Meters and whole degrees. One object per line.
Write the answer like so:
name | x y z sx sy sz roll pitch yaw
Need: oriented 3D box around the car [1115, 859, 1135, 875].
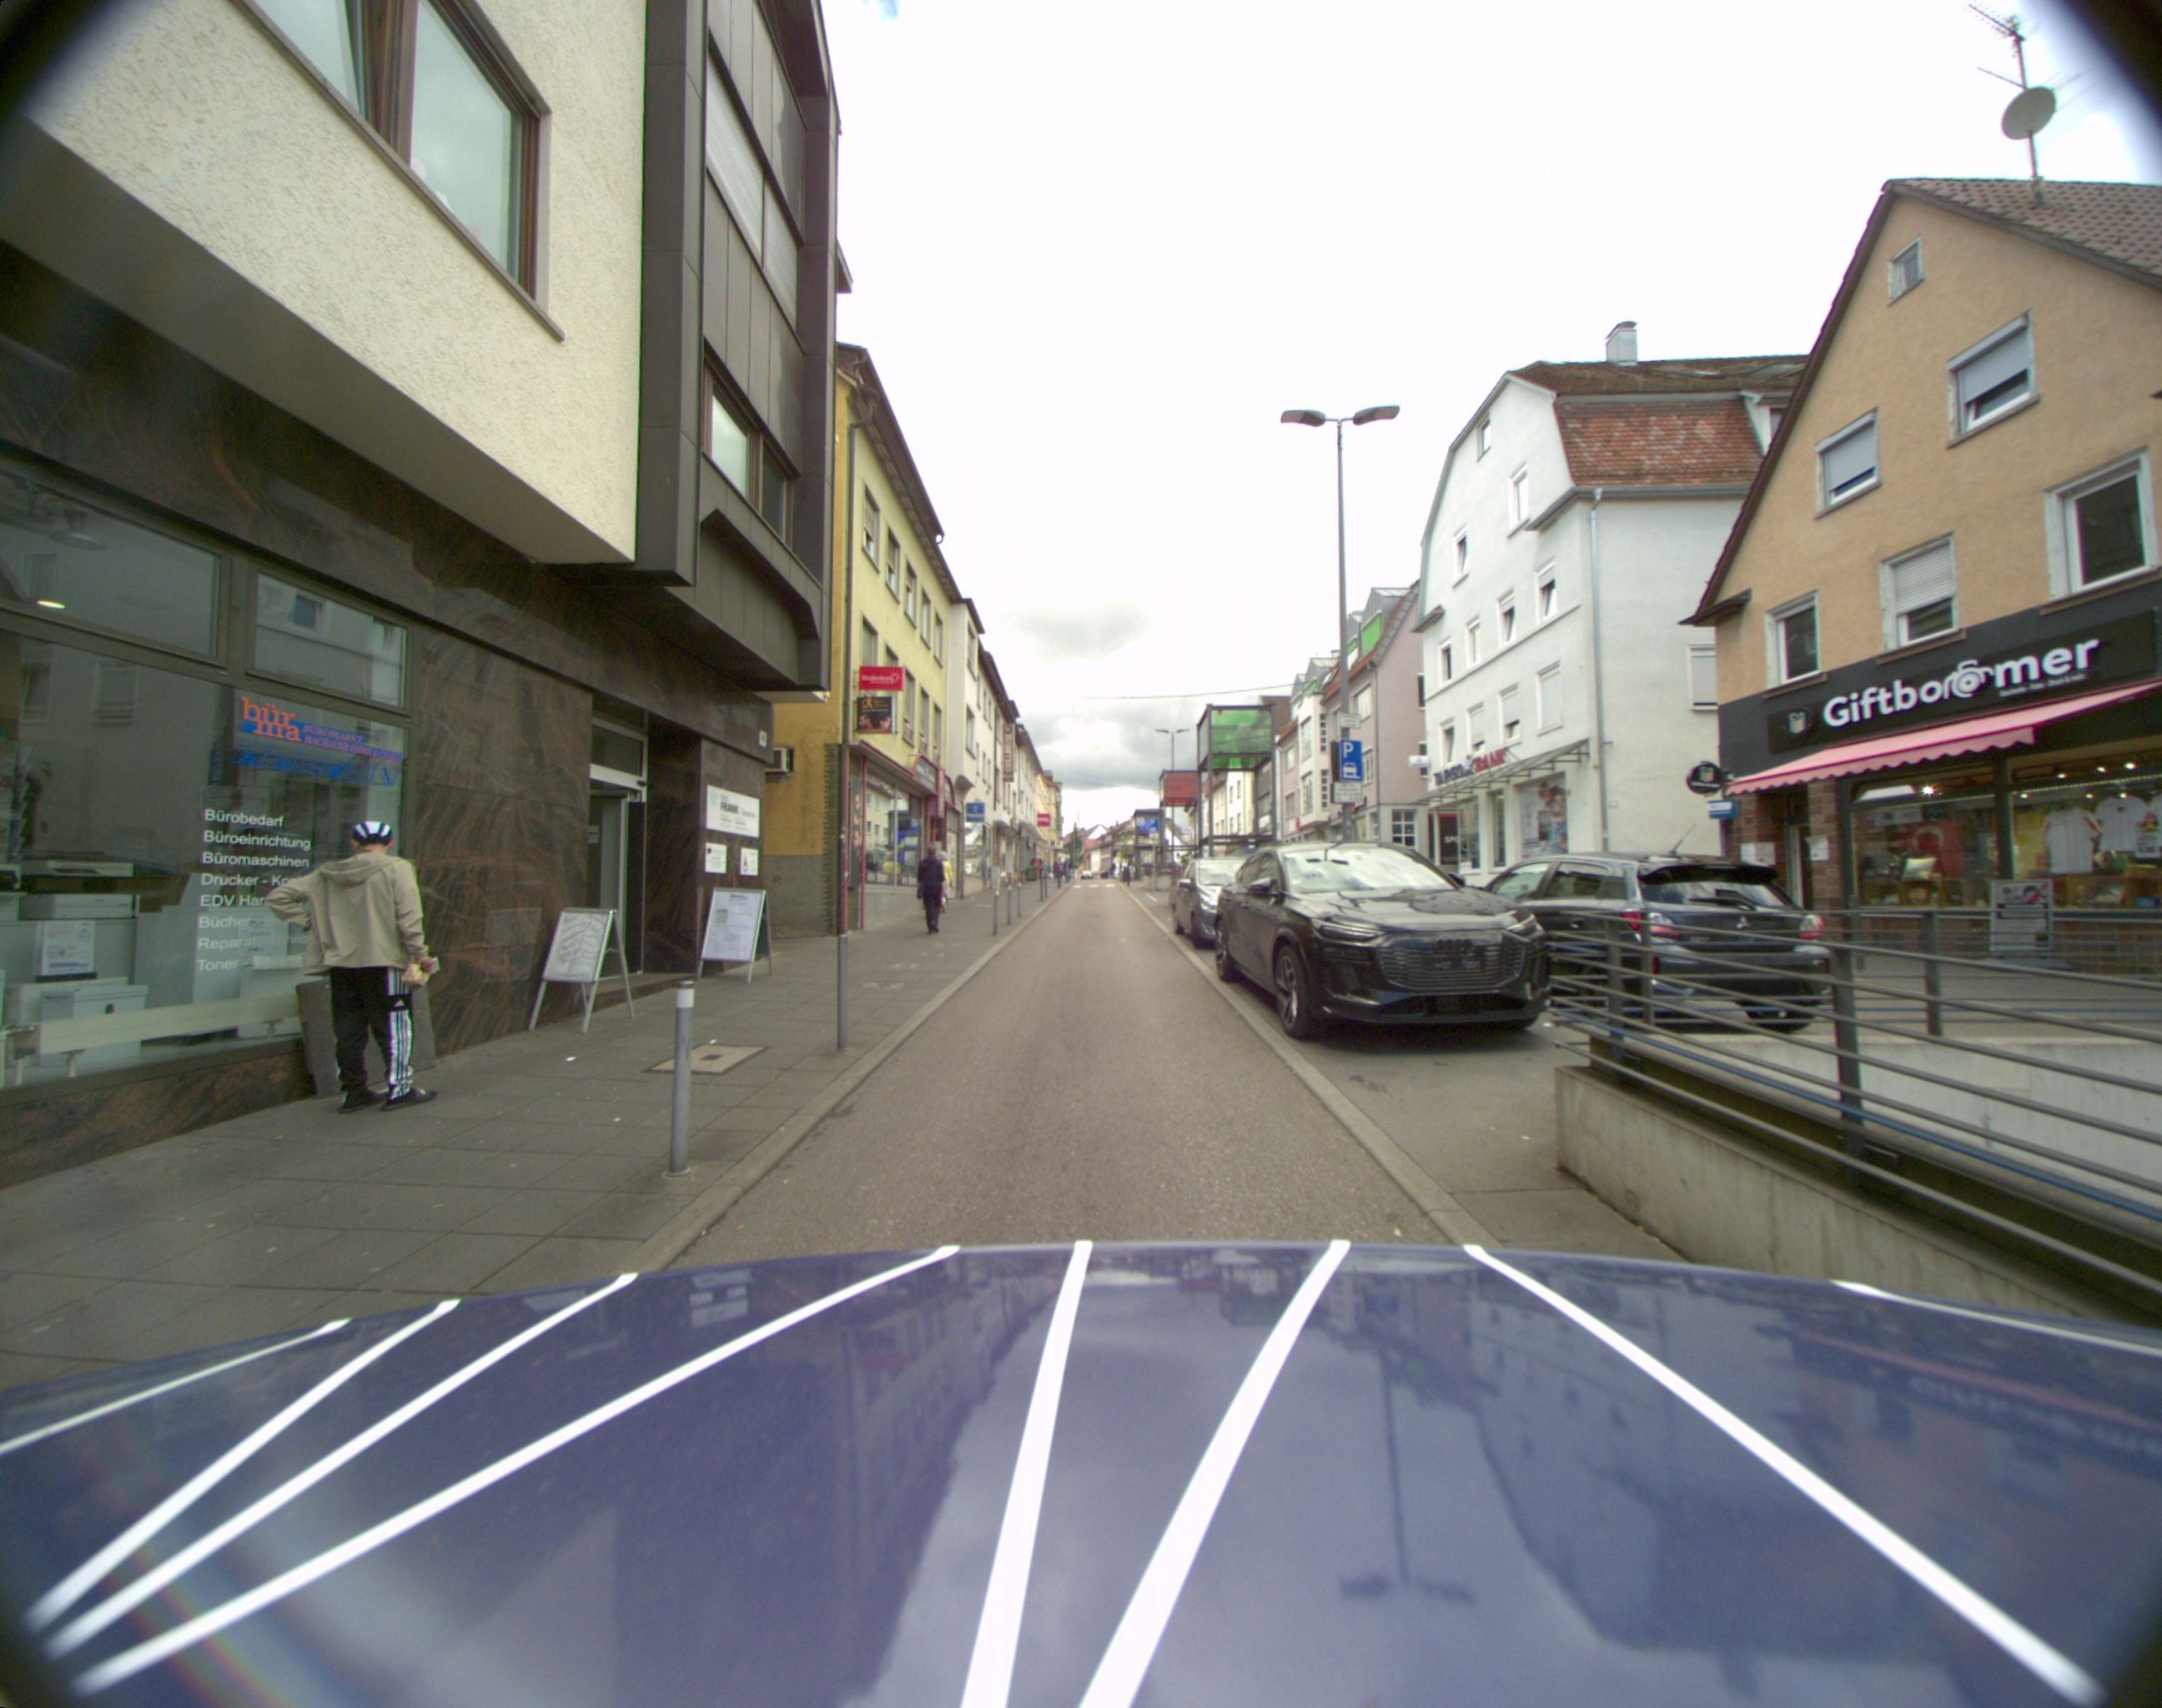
car | 4.252 1.235 73.241 1.754 1.452 3.601 -2 0 2

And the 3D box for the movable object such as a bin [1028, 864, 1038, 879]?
movable object such as a bin | -3.431 1.249 53.937 0.670 1.024 0.560 0 0 1

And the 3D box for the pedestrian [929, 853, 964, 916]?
pedestrian | -3.561 0.798 20.129 0.713 1.621 0.835 2 0 1

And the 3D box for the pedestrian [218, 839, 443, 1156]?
pedestrian | -4.234 0.777 4.333 0.665 1.679 0.543 3 0 -5

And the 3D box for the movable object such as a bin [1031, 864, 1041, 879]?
movable object such as a bin | -3.231 1.277 54.657 0.652 1.074 0.673 0 0 1

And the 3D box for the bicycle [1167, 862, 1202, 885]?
bicycle | 5.471 1.016 40.015 1.782 1.216 0.460 0 1 0

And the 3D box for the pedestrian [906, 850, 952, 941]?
pedestrian | -2.994 0.803 15.038 0.713 1.743 0.787 1 0 1

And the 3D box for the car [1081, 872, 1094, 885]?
car | 0.858 3.392 105.949 1.741 1.608 3.843 -2 0 1

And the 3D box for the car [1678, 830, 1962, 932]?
car | 15.634 0.562 16.268 4.080 1.862 1.884 -3 0 3

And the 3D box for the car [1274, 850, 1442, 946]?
car | 5.130 0.724 14.698 1.743 1.534 4.193 -2 0 1

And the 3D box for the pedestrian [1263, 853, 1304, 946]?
pedestrian | 3.711 0.815 13.994 0.535 1.662 0.901 -1 0 4

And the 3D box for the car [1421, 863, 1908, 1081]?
car | 5.129 0.891 7.493 1.743 1.467 3.883 3 0 0

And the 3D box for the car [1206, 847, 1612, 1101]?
car | 2.550 0.799 7.239 1.961 1.630 4.314 -2 0 0

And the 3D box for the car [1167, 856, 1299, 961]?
car | 2.542 0.845 13.491 1.624 1.523 3.670 -2 0 1

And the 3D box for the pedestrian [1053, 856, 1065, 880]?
pedestrian | -1.583 0.974 54.026 0.740 1.660 0.627 1 0 -8

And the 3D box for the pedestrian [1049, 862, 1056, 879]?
pedestrian | -2.896 1.625 76.011 0.627 1.620 0.607 -2 1 -4

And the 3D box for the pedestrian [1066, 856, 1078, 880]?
pedestrian | -0.652 0.981 54.146 0.740 1.660 0.786 1 0 -8

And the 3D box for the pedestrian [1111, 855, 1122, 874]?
pedestrian | 3.166 0.943 68.042 0.759 1.715 0.756 3 0 -4

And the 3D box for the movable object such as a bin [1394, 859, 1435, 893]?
movable object such as a bin | 14.046 0.922 32.040 1.286 1.368 1.067 -1 0 1

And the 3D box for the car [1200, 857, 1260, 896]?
car | 6.052 0.884 31.187 1.573 1.466 3.855 0 0 -2

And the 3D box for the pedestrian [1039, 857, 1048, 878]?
pedestrian | -3.094 1.135 62.500 0.627 1.715 0.607 2 0 -4

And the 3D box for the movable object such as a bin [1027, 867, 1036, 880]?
movable object such as a bin | -3.494 1.357 53.325 0.568 0.951 0.498 0 0 1

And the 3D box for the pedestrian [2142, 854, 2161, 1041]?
pedestrian | 10.011 0.836 6.684 0.644 1.679 0.668 0 0 41

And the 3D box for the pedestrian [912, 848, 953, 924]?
pedestrian | -3.577 0.761 18.327 0.713 1.743 0.785 4 0 1
